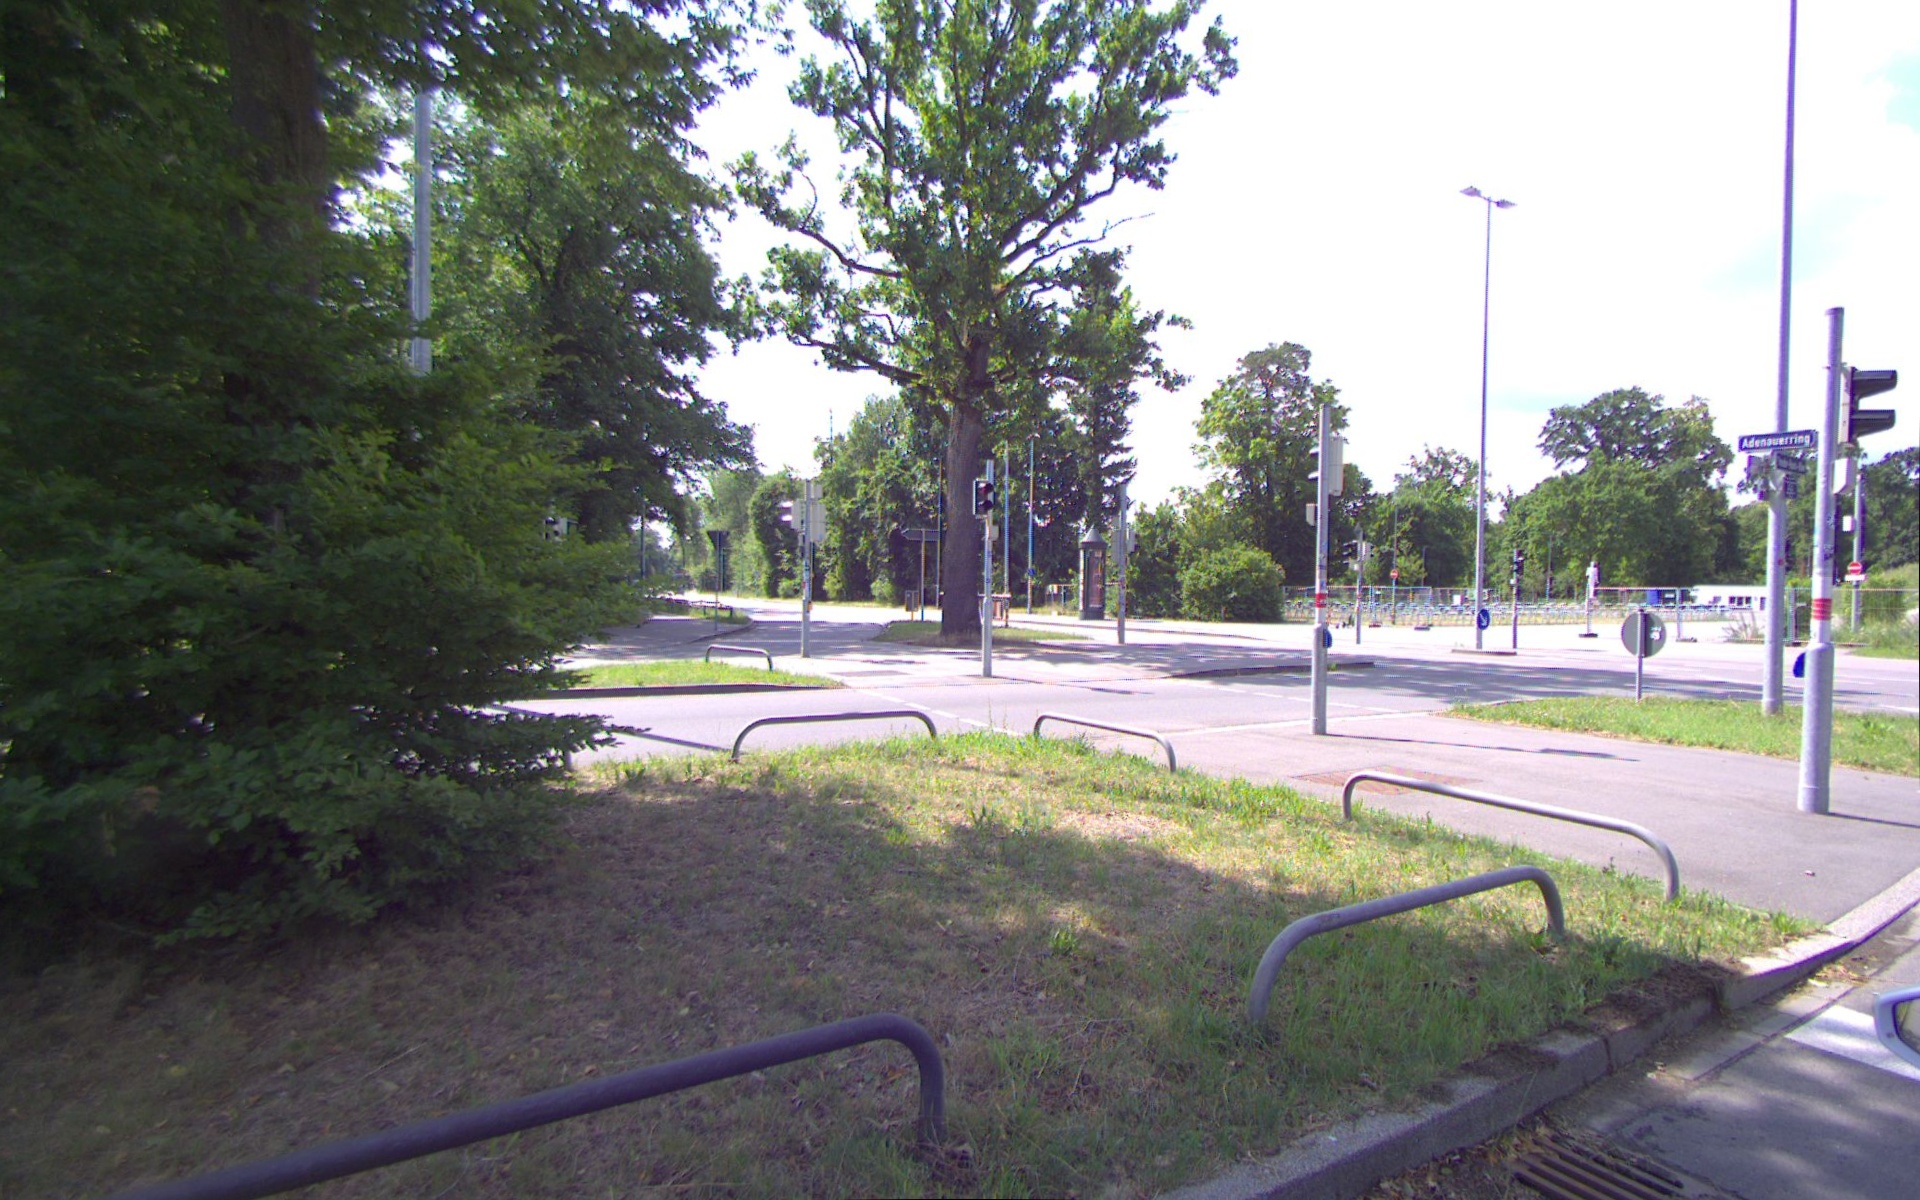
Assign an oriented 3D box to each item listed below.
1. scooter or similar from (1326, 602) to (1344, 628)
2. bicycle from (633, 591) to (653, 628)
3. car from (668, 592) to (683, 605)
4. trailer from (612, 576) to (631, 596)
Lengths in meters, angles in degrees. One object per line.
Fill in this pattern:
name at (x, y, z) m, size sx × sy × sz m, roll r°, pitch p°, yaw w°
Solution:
scooter or similar at (18.307, 0.735, 49.033) m, size 0.399 × 1.216 × 1.312 m, roll 0°, pitch 1°, yaw 0°
bicycle at (-10.322, 0.311, 32.719) m, size 0.413 × 1.189 × 1.228 m, roll 2°, pitch 0°, yaw -8°
car at (-48.769, -0.262, 171.977) m, size 1.972 × 2.040 × 3.977 m, roll 2°, pitch 0°, yaw -24°
trailer at (-42.301, -1.777, 125.573) m, size 1.971 × 2.420 × 3.979 m, roll 2°, pitch 0°, yaw -22°
